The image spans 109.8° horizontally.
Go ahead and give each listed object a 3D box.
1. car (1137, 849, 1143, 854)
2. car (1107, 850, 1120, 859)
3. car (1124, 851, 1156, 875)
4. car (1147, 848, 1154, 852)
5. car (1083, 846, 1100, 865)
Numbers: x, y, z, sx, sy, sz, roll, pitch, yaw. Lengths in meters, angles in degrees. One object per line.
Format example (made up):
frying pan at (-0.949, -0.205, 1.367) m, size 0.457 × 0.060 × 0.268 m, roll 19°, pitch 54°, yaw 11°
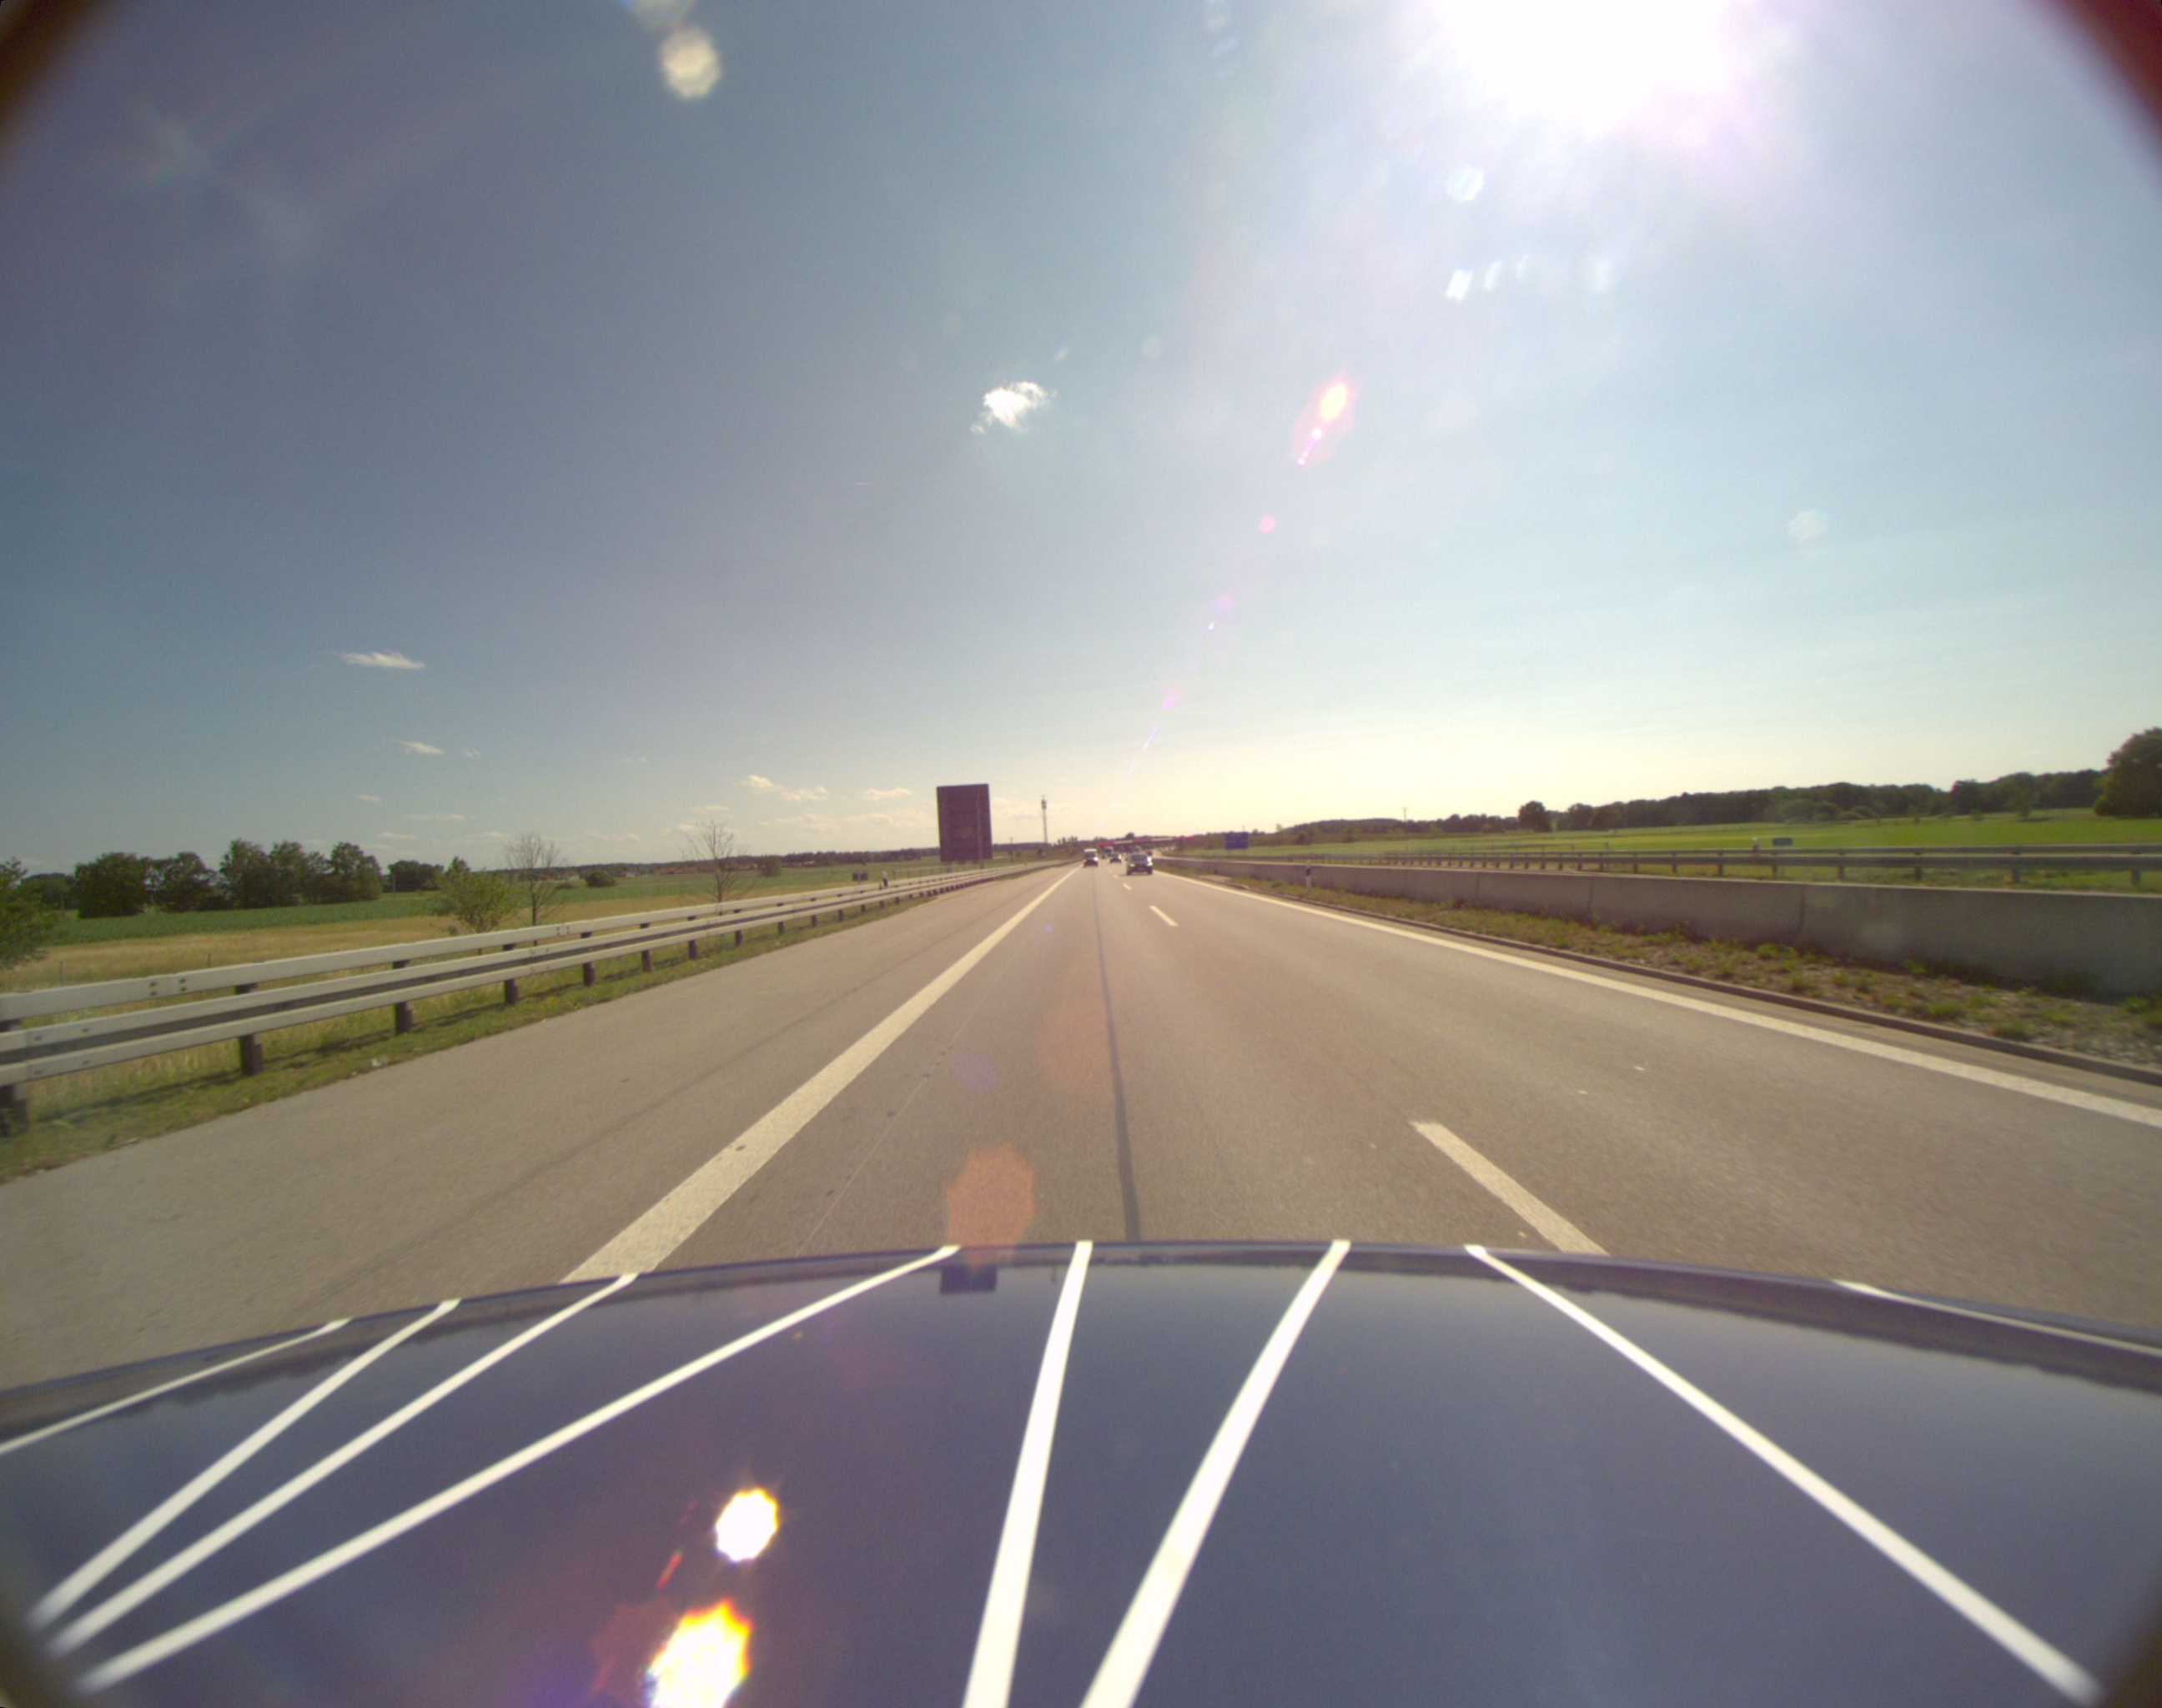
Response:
car at (19.410, -0.833, 250.693) m, size 1.902 × 1.514 × 4.806 m, roll -1°, pitch 0°, yaw 2°
car at (5.697, 0.071, 134.185) m, size 2.030 × 1.600 × 4.818 m, roll -3°, pitch 1°, yaw 1°
car at (4.447, 0.628, 58.065) m, size 2.030 × 1.600 × 4.817 m, roll -3°, pitch 1°, yaw 1°
car at (23.712, -1.355, 259.695) m, size 1.902 × 1.514 × 4.806 m, roll -1°, pitch 0°, yaw 2°
car at (1.382, 0.183, 97.929) m, size 2.030 × 2.225 × 4.818 m, roll -2°, pitch 1°, yaw 2°
